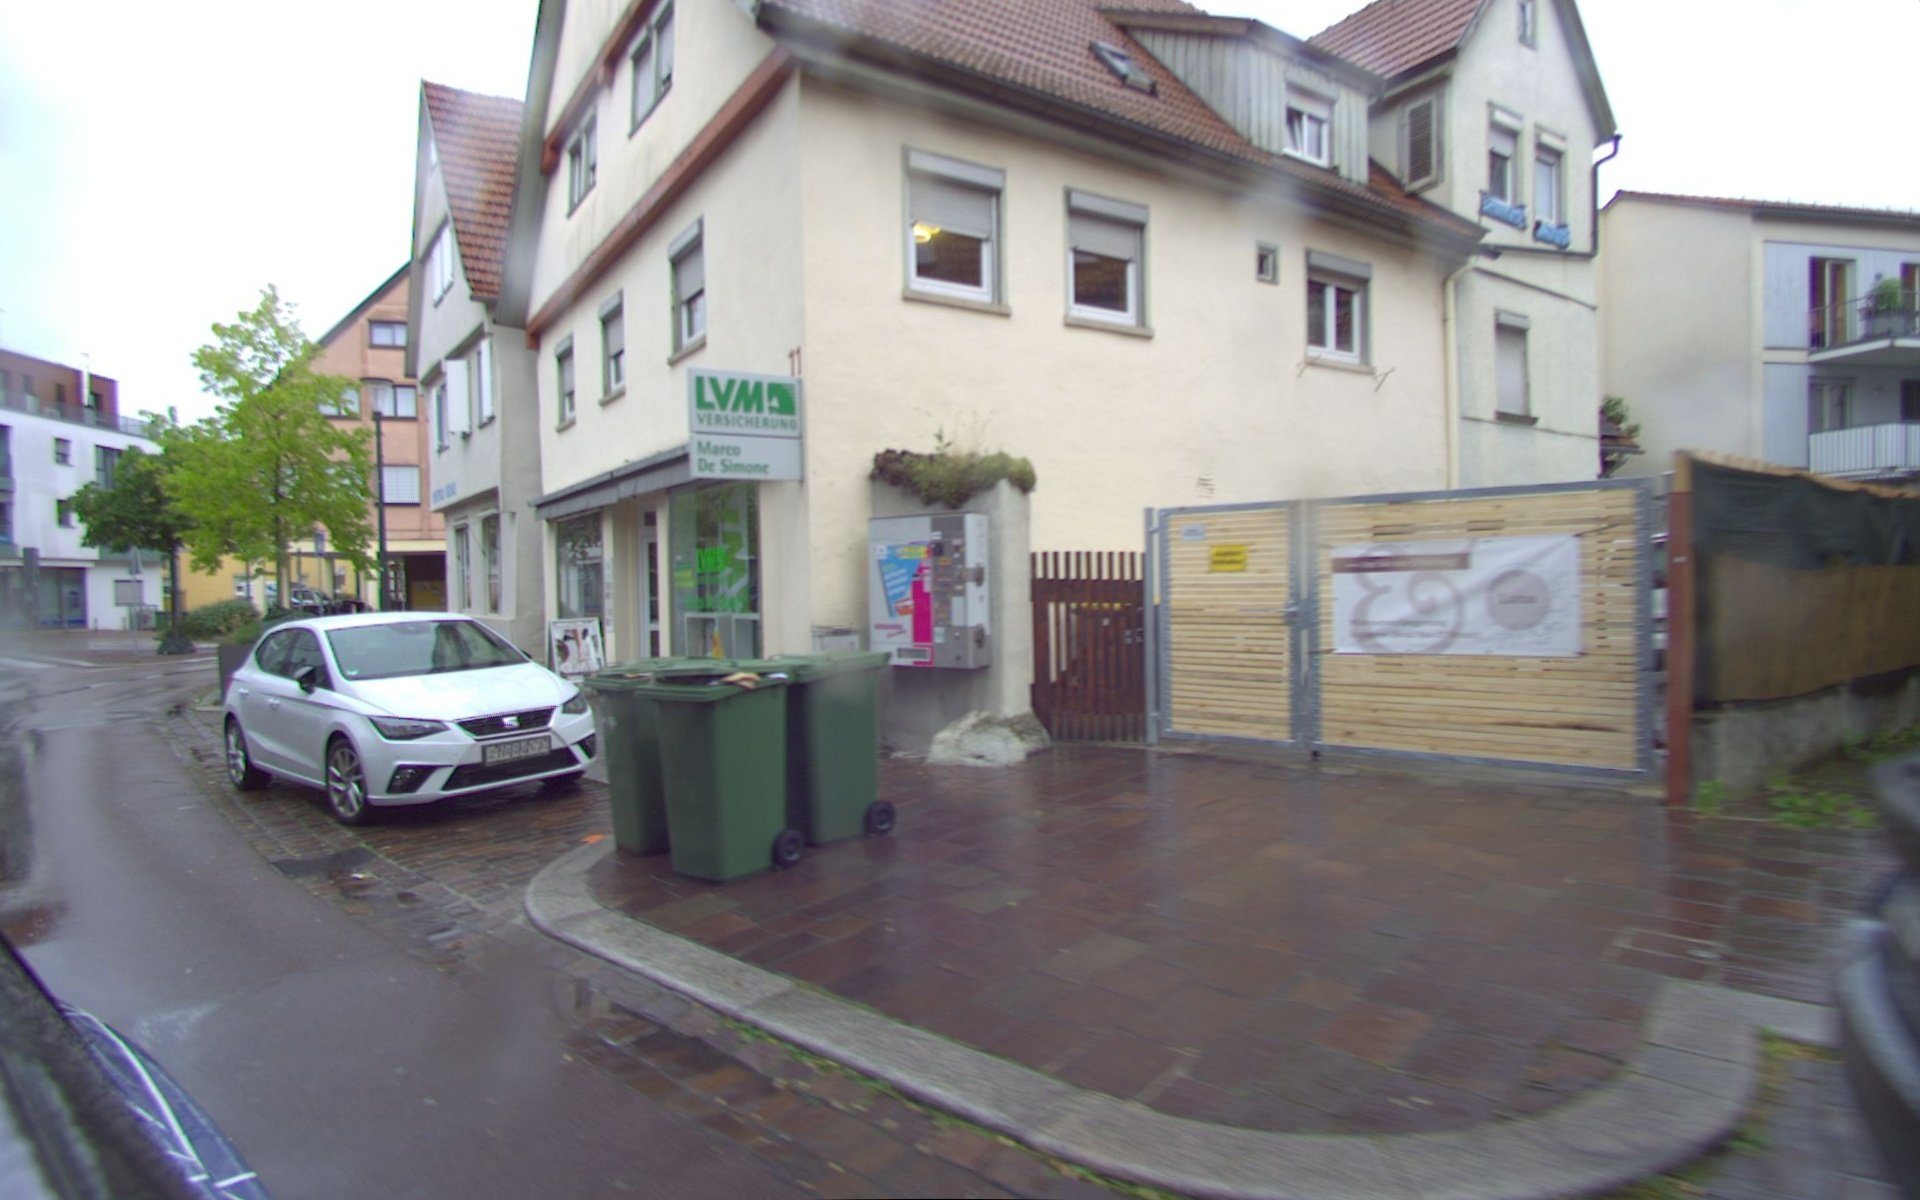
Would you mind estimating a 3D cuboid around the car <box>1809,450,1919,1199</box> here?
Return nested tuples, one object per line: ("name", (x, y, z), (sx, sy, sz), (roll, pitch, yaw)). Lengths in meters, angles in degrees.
("car", (3.627, 0.536, 0.756), (4.390, 1.552, 1.859), (1, 2, 35))

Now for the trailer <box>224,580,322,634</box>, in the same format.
("trailer", (-30.359, 0.300, 44.839), (3.041, 2.103, 1.841), (-4, 0, -15))

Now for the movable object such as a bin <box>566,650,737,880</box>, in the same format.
("movable object such as a bin", (-1.773, 0.891, 5.806), (0.674, 1.144, 0.720), (-2, 1, -42))

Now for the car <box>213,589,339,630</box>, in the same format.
("car", (-28.420, 0.371, 42.191), (3.932, 1.519, 1.842), (-1, 2, -15))

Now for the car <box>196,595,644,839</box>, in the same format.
("car", (-4.559, 0.783, 8.288), (4.069, 1.463, 1.830), (-2, 0, 40))

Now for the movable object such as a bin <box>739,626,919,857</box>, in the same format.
("movable object such as a bin", (-0.752, 0.761, 5.807), (0.692, 1.130, 0.720), (-5, 5, -43))

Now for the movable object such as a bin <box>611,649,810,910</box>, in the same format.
("movable object such as a bin", (-1.276, 0.851, 5.164), (0.691, 1.152, 0.720), (-2, 0, -43))

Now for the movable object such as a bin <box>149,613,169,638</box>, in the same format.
("movable object such as a bin", (-41.105, 1.295, 51.941), (0.622, 1.242, 0.524), (-1, 2, -4))

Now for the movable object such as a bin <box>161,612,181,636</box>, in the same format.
("movable object such as a bin", (-41.187, 1.261, 52.811), (0.622, 1.242, 0.524), (-1, 2, -4))

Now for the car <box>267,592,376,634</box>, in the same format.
("car", (-30.292, 0.601, 48.106), (3.933, 1.684, 1.841), (-4, 0, -15))
